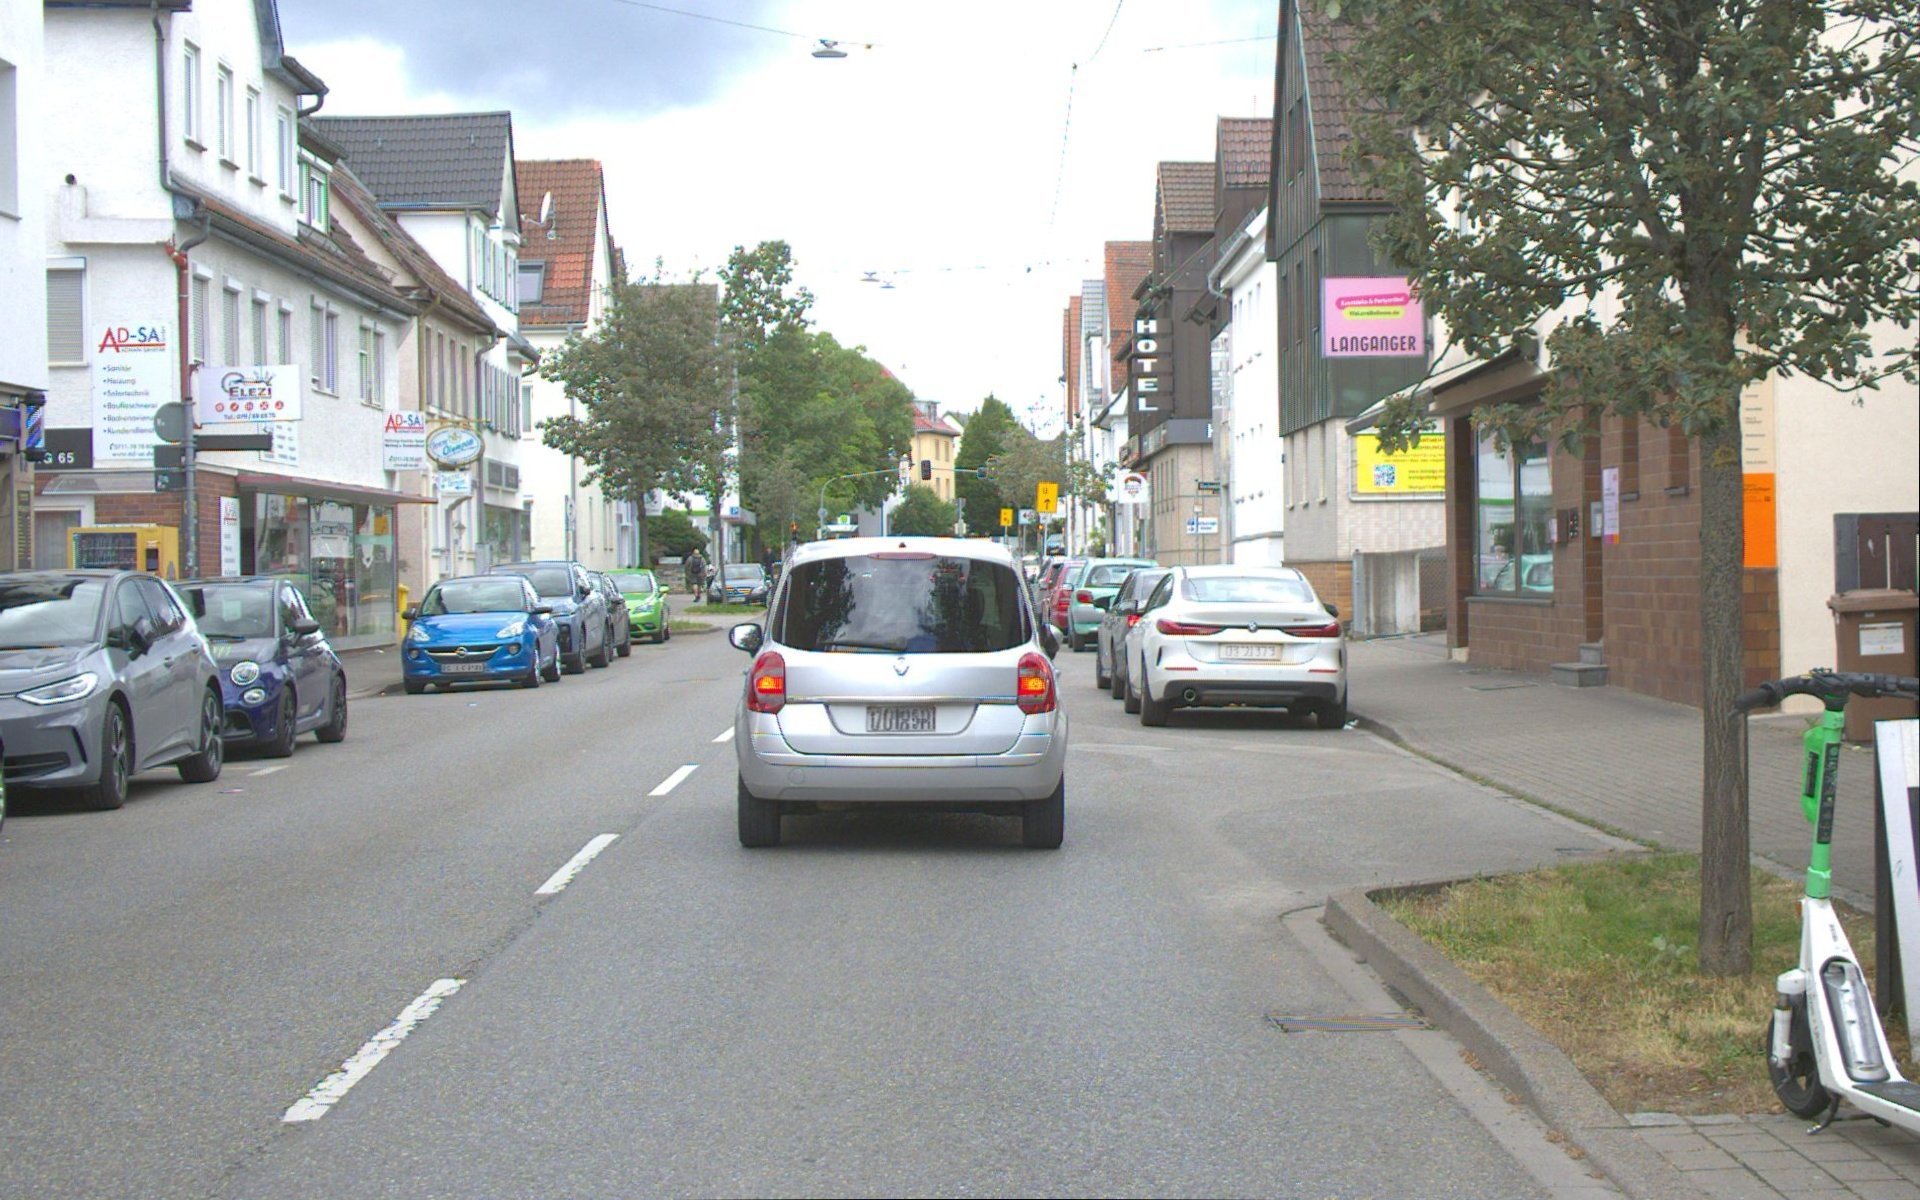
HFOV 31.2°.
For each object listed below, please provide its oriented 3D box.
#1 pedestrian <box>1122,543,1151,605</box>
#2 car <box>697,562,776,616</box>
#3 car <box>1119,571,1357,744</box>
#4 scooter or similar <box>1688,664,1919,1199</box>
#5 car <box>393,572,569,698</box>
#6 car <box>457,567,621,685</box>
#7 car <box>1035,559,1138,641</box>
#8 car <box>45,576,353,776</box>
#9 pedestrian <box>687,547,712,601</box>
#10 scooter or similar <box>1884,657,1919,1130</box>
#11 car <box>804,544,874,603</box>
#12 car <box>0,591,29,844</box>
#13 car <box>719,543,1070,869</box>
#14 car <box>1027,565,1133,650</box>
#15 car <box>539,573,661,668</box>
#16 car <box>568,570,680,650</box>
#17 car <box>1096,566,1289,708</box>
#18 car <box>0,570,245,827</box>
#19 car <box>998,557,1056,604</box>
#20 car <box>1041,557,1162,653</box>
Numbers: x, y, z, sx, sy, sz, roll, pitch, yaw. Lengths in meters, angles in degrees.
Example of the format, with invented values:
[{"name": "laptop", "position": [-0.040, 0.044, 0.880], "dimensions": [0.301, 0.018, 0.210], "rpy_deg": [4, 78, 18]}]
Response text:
[{"name": "pedestrian", "position": [5.490, -0.801, 106.796], "dimensions": [0.857, 1.921, 0.899], "rpy_deg": [0, 0, 0]}, {"name": "car", "position": [-6.577, -0.347, 101.572], "dimensions": [1.948, 1.462, 4.516], "rpy_deg": [-3, 0, 0]}, {"name": "car", "position": [2.451, 0.467, 31.253], "dimensions": [1.831, 1.441, 4.332], "rpy_deg": [0, 1, 0]}, {"name": "scooter or similar", "position": [2.240, 0.799, 8.351], "dimensions": [0.502, 1.231, 1.942], "rpy_deg": [0, 0, -1]}, {"name": "car", "position": [-6.175, 0.420, 44.695], "dimensions": [1.682, 1.494, 3.775], "rpy_deg": [-2, 1, 0]}, {"name": "car", "position": [-6.176, 0.351, 50.827], "dimensions": [1.803, 1.593, 4.304], "rpy_deg": [-2, 1, 0]}, {"name": "car", "position": [2.447, -0.019, 67.315], "dimensions": [1.876, 1.534, 4.513], "rpy_deg": [0, 0, 0]}, {"name": "car", "position": [-6.257, 0.580, 28.626], "dimensions": [1.682, 1.488, 3.591], "rpy_deg": [-2, 1, 0]}, {"name": "pedestrian", "position": [-8.594, -0.856, 113.446], "dimensions": [0.762, 1.785, 0.890], "rpy_deg": [0, 0, 0]}, {"name": "scooter or similar", "position": [2.774, 0.779, 8.359], "dimensions": [0.502, 1.231, 1.942], "rpy_deg": [0, 0, -1]}, {"name": "car", "position": [-3.725, -0.826, 106.563], "dimensions": [1.900, 1.731, 4.366], "rpy_deg": [-2, 1, 0]}, {"name": "car", "position": [-6.245, 0.710, 18.001], "dimensions": [1.682, 1.420, 3.931], "rpy_deg": [-2, 1, -1]}, {"name": "car", "position": [-0.302, 0.492, 18.626], "dimensions": [1.682, 1.560, 3.993], "rpy_deg": [0, 1, 0]}, {"name": "car", "position": [2.108, 0.112, 61.298], "dimensions": [1.755, 1.441, 4.455], "rpy_deg": [0, 1, 0]}, {"name": "car", "position": [-5.895, 0.308, 56.576], "dimensions": [1.581, 1.503, 3.812], "rpy_deg": [0, 0, 0]}, {"name": "car", "position": [-6.462, 0.172, 66.483], "dimensions": [1.682, 1.442, 4.020], "rpy_deg": [-2, 1, 1]}, {"name": "car", "position": [2.461, 0.362, 37.292], "dimensions": [1.831, 1.441, 4.110], "rpy_deg": [0, 1, 0]}, {"name": "car", "position": [-6.172, 0.610, 23.276], "dimensions": [1.710, 1.560, 4.113], "rpy_deg": [-2, 1, 0]}, {"name": "car", "position": [2.103, -0.615, 109.229], "dimensions": [1.700, 1.462, 4.239], "rpy_deg": [0, 0, -1]}, {"name": "car", "position": [2.275, 0.055, 56.174], "dimensions": [1.831, 1.492, 3.993], "rpy_deg": [0, 1, 0]}]
